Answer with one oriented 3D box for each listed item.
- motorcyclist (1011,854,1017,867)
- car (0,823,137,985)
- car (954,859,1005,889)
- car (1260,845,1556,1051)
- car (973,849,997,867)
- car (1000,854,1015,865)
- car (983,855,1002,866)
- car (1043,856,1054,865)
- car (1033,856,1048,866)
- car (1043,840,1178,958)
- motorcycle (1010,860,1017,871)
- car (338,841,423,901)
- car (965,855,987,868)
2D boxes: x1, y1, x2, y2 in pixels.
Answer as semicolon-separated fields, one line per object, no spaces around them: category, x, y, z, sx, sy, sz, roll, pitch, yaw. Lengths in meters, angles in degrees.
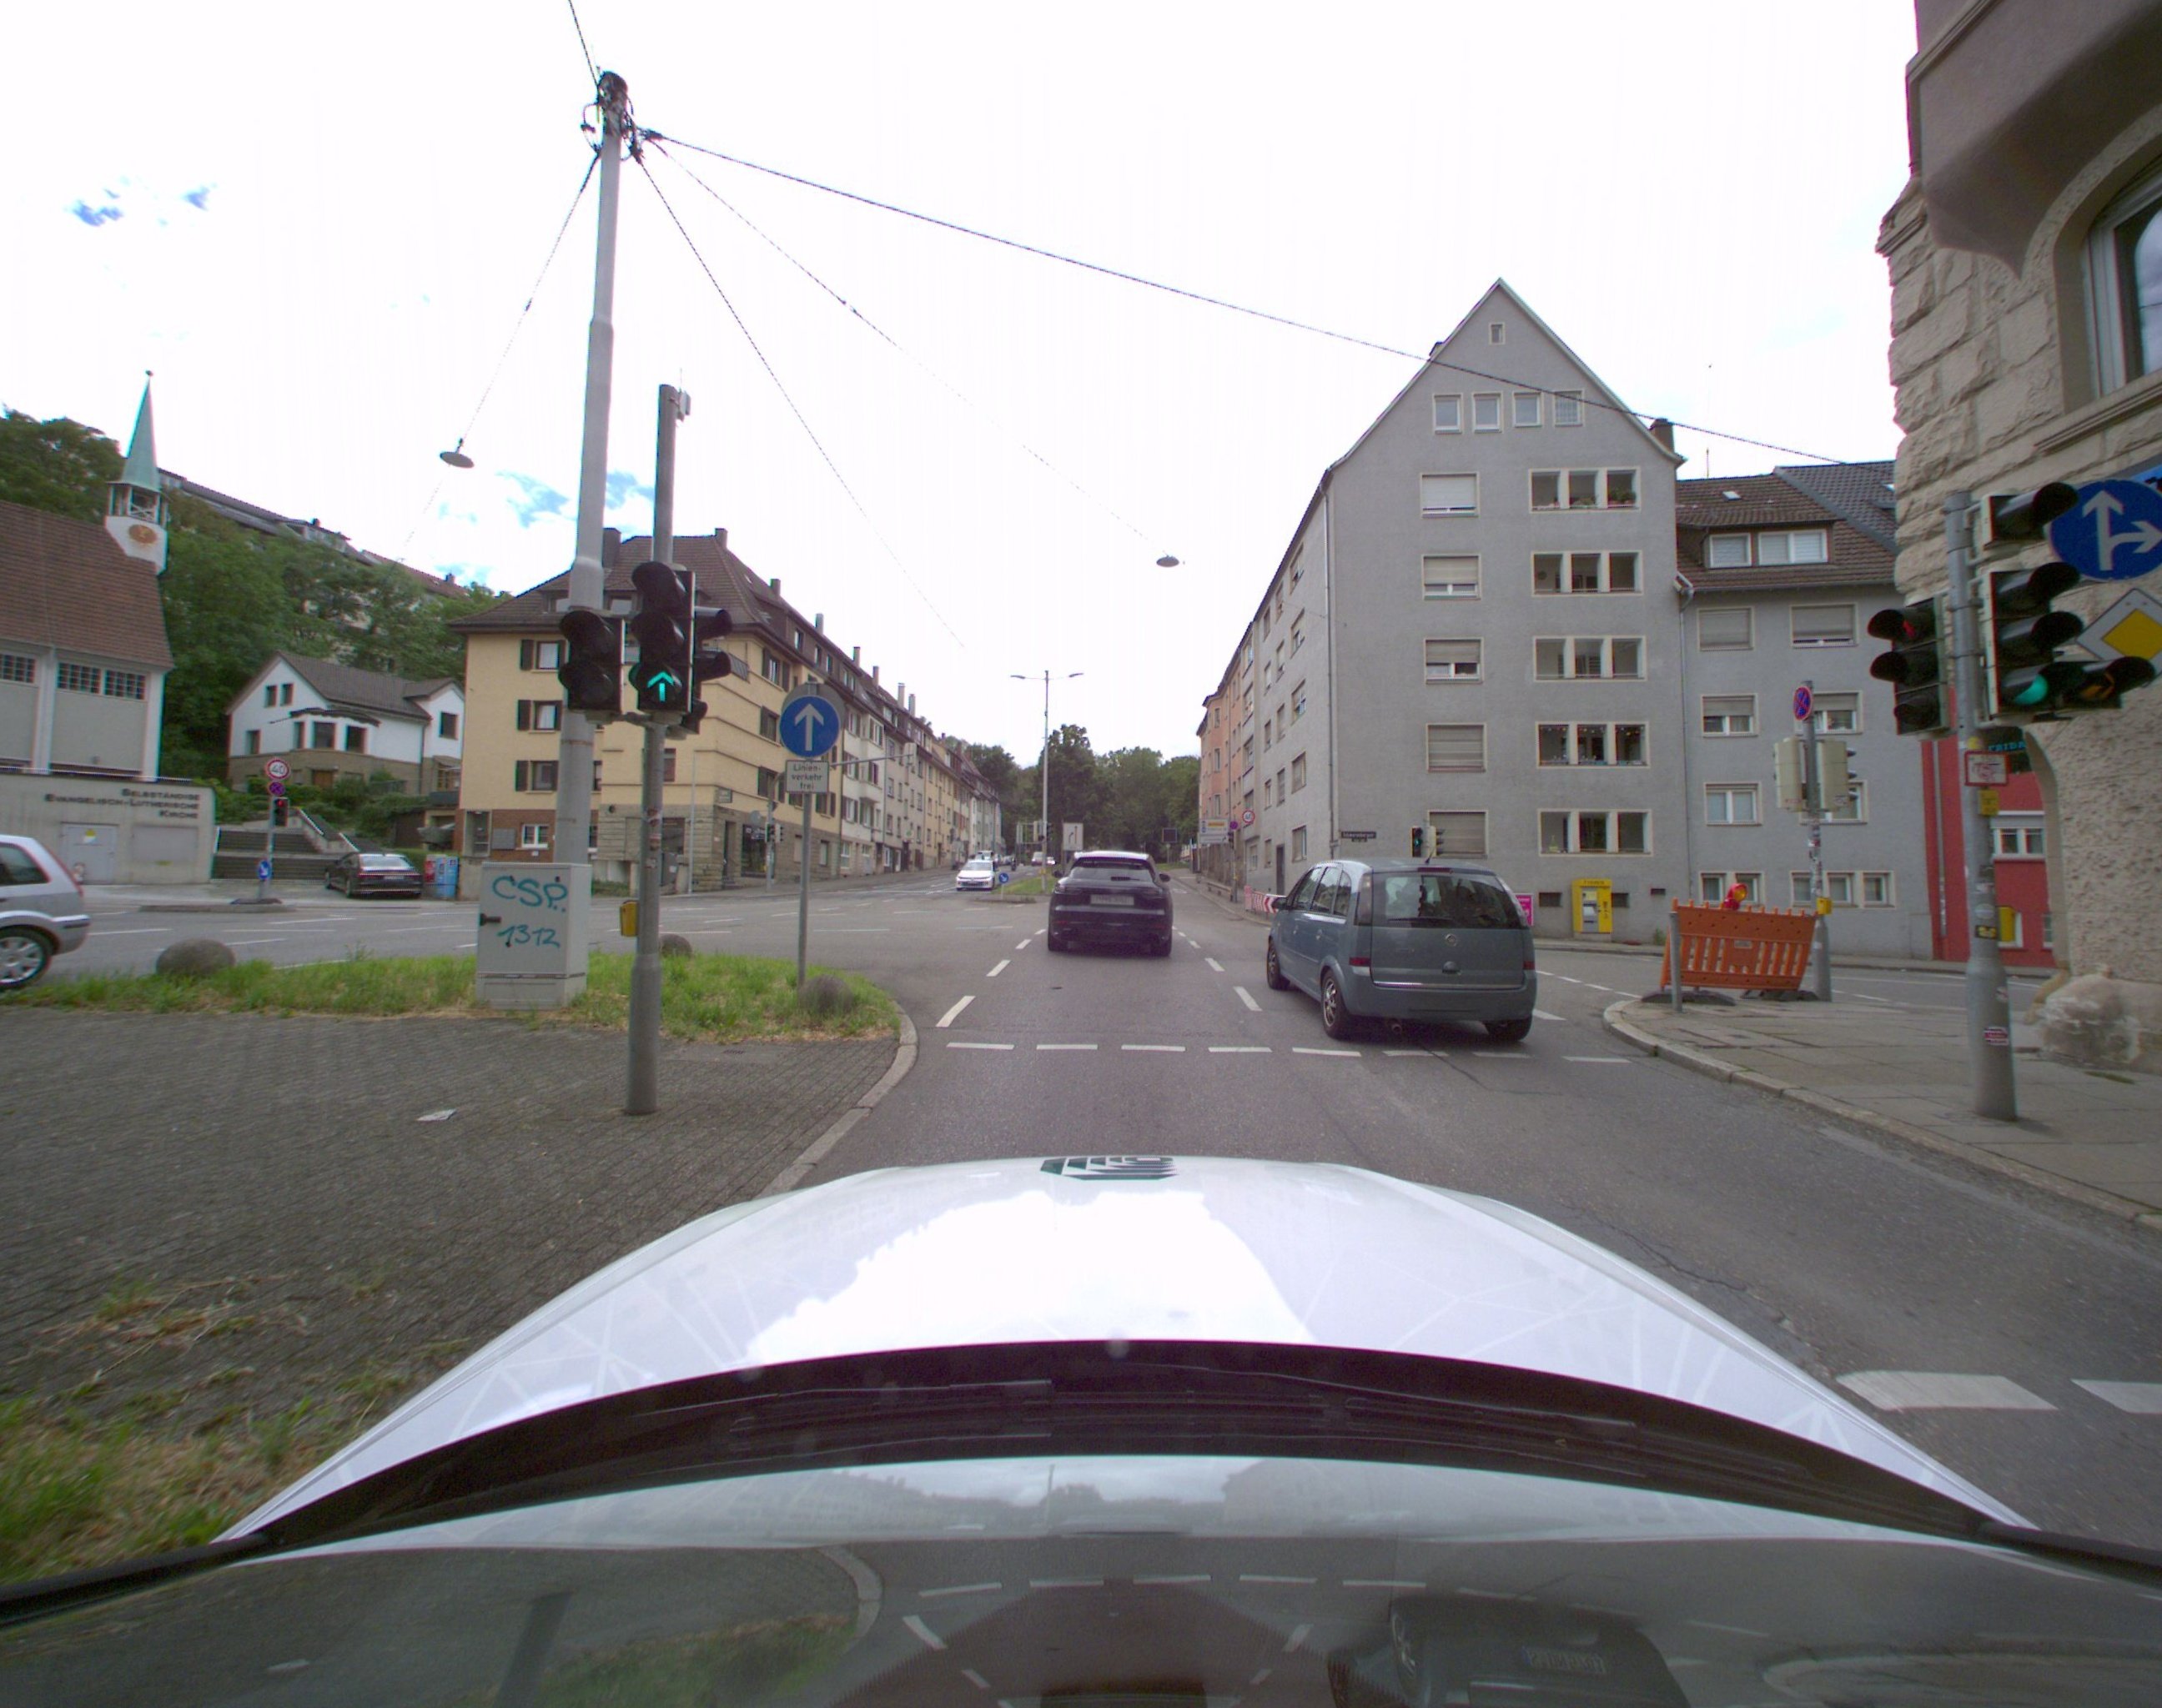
motorcyclist;-6.316;0.647;76.418;0.510;1.226;0.467;0;0;2
car;-10.714;0.448;6.577;1.612;1.480;3.825;0;-1;2
car;-4.930;0.951;40.028;1.854;1.387;4.096;0;0;2
car;2.998;0.751;8.302;1.622;1.598;3.670;1;0;2
car;-11.092;0.484;94.332;2.008;2.045;4.669;0;0;2
car;-10.275;0.725;114.443;1.683;1.538;3.815;0;0;2
car;-10.810;0.777;99.688;1.732;1.387;3.815;0;0;2
car;-5.295;1.046;132.451;1.483;1.376;3.246;0;0;2
car;-5.061;0.845;101.786;1.545;1.257;3.664;0;0;2
car;0.501;0.696;14.122;1.948;1.674;4.001;2;-1;2
motorcycle;-6.320;1.088;76.367;0.510;1.040;1.390;0;0;2
car;-24.025;0.525;27.898;3.477;1.596;1.881;8;5;44
car;-11.401;0.838;88.285;1.732;1.387;3.815;0;0;2
